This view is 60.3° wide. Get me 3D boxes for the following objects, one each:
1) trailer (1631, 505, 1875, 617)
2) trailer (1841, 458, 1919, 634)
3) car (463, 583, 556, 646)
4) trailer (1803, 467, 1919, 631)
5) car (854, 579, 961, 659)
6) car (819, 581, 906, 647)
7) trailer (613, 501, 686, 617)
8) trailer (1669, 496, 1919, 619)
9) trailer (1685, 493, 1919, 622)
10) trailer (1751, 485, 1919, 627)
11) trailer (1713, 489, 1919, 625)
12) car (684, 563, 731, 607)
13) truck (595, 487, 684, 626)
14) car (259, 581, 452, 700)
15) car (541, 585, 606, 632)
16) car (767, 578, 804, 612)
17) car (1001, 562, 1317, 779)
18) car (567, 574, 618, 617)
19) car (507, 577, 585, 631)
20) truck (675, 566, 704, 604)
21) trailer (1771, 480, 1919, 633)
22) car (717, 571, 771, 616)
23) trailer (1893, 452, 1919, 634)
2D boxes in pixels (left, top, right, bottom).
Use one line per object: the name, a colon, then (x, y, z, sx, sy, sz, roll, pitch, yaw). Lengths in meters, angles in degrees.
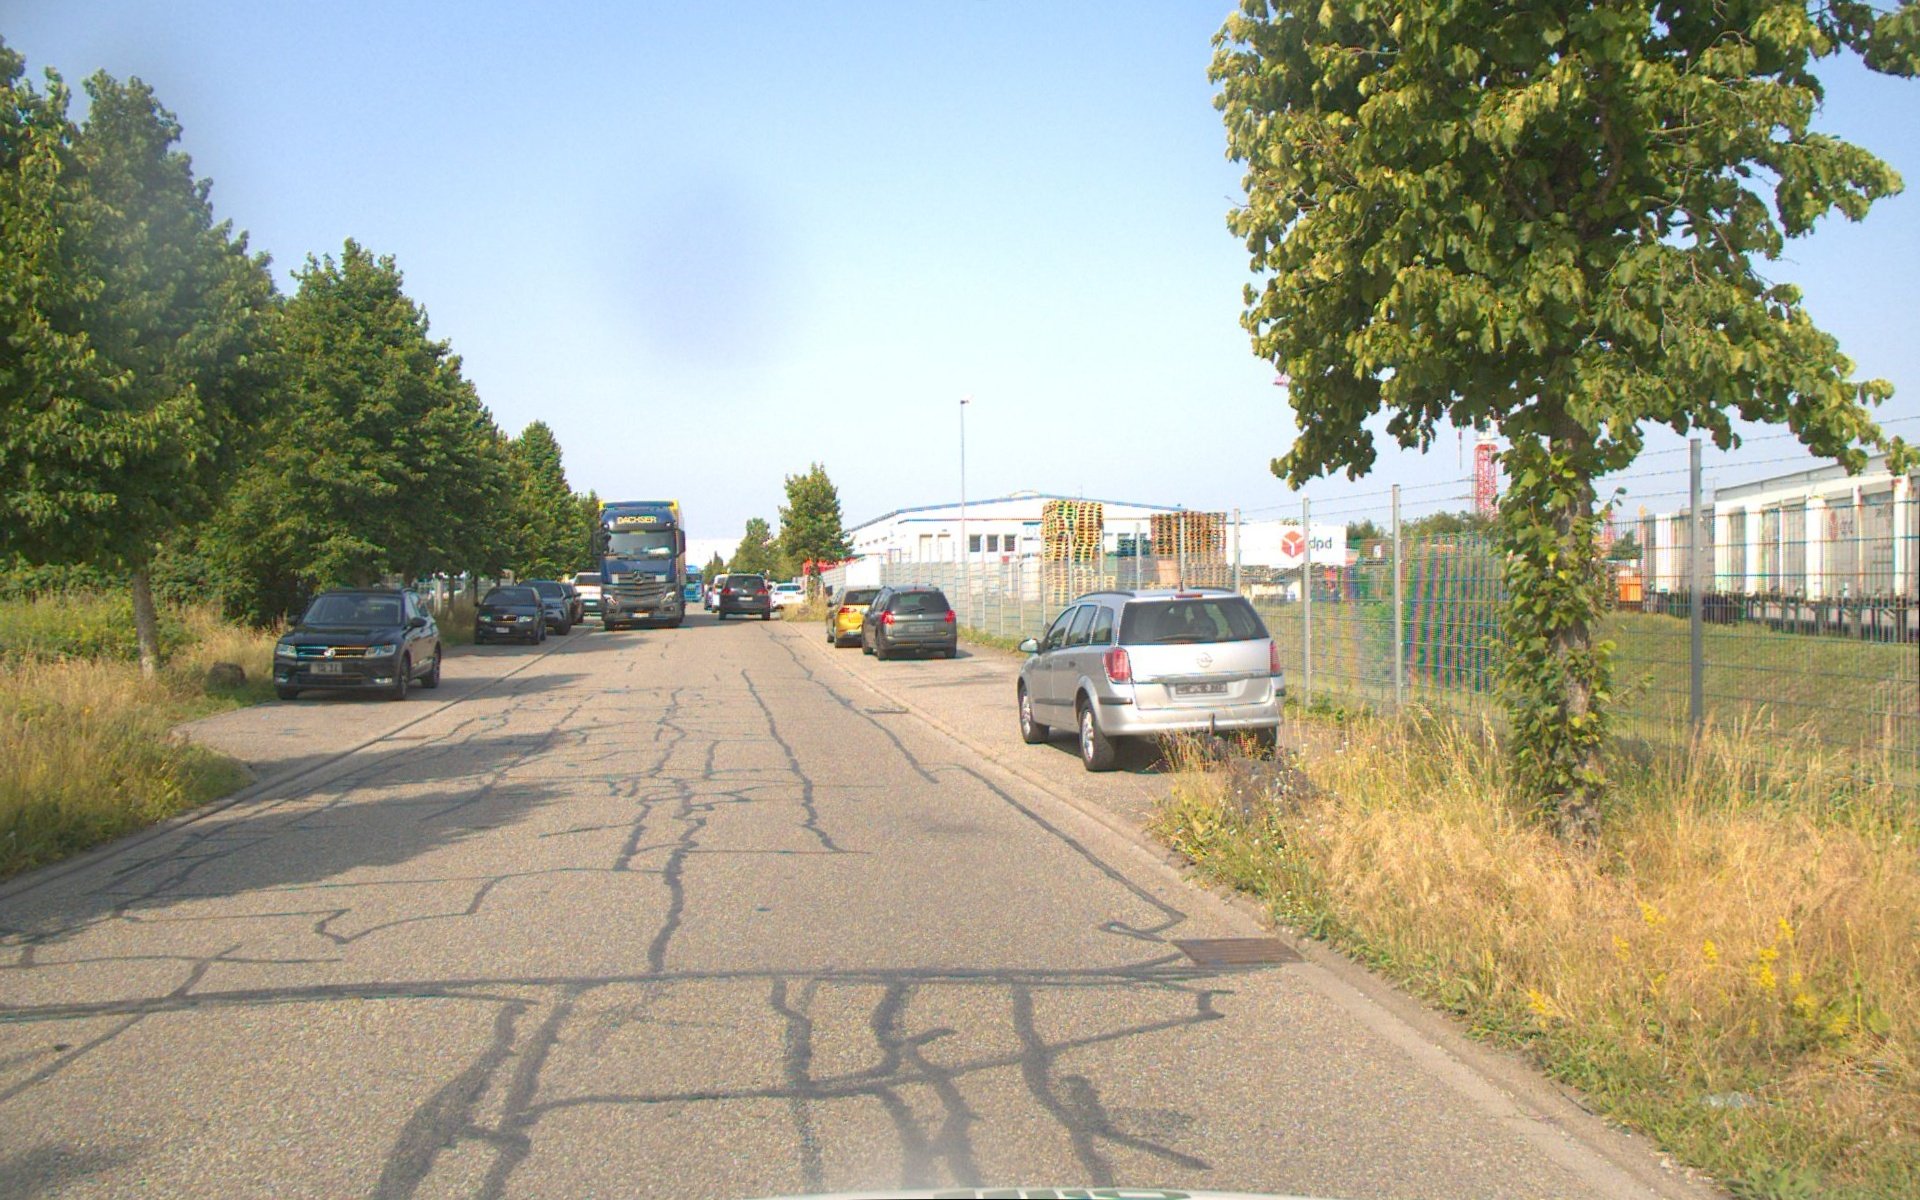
trailer: (29.970, -1.510, 62.810, 7.793, 3.961, 2.745, 2, 2, 10)
trailer: (25.097, -1.165, 38.188, 7.793, 3.961, 2.779, 2, 2, 10)
car: (-11.697, 0.332, 43.187, 1.798, 1.522, 4.042, 1, 1, -8)
trailer: (25.767, -1.213, 41.334, 7.793, 3.961, 2.779, 2, 2, 10)
car: (-1.188, 0.363, 35.572, 1.684, 1.541, 3.994, -2, 1, -11)
car: (-2.477, 0.296, 41.092, 1.683, 1.480, 4.178, -2, 1, -10)
trailer: (-12.221, -1.578, 65.622, 2.452, 4.217, 8.479, -2, 1, -9)
trailer: (28.970, -1.490, 57.035, 7.793, 3.961, 2.779, 2, 2, 10)
trailer: (28.245, -1.406, 54.016, 7.793, 3.961, 2.779, 2, 2, 10)
trailer: (27.558, -1.240, 47.909, 7.793, 3.961, 2.779, 2, 2, 10)
trailer: (27.871, -1.316, 51.107, 7.793, 3.961, 2.779, 2, 2, 10)
car: (-12.569, -0.736, 82.415, 2.080, 2.147, 4.618, -1, 0, -6)
truck: (-10.760, -1.431, 56.306, 2.452, 4.217, 10.358, -2, 1, -9)
car: (-9.246, 0.559, 25.662, 1.867, 1.654, 4.442, 1, 1, -8)
car: (-13.536, 0.279, 58.072, 1.798, 1.522, 4.042, 1, 1, -8)
car: (-9.124, -0.272, 86.336, 1.683, 1.709, 3.941, 0, 1, -10)
car: (1.677, 0.530, 15.524, 1.766, 1.654, 4.440, -2, 1, -9)
car: (-16.038, -0.230, 72.313, 1.798, 1.793, 4.042, 1, 1, -8)
car: (-12.312, 0.096, 49.409, 1.798, 1.522, 4.042, 1, 1, -8)
truck: (-27.702, -1.505, 169.136, 2.827, 3.826, 6.069, 0, 1, -10)
trailer: (26.386, -1.122, 44.314, 7.793, 3.961, 2.779, 2, 2, 10)
car: (-8.043, -0.250, 61.823, 1.844, 1.614, 4.108, -1, 0, -6)
trailer: (24.677, -1.138, 35.194, 7.793, 3.961, 2.779, 2, 2, 10)
